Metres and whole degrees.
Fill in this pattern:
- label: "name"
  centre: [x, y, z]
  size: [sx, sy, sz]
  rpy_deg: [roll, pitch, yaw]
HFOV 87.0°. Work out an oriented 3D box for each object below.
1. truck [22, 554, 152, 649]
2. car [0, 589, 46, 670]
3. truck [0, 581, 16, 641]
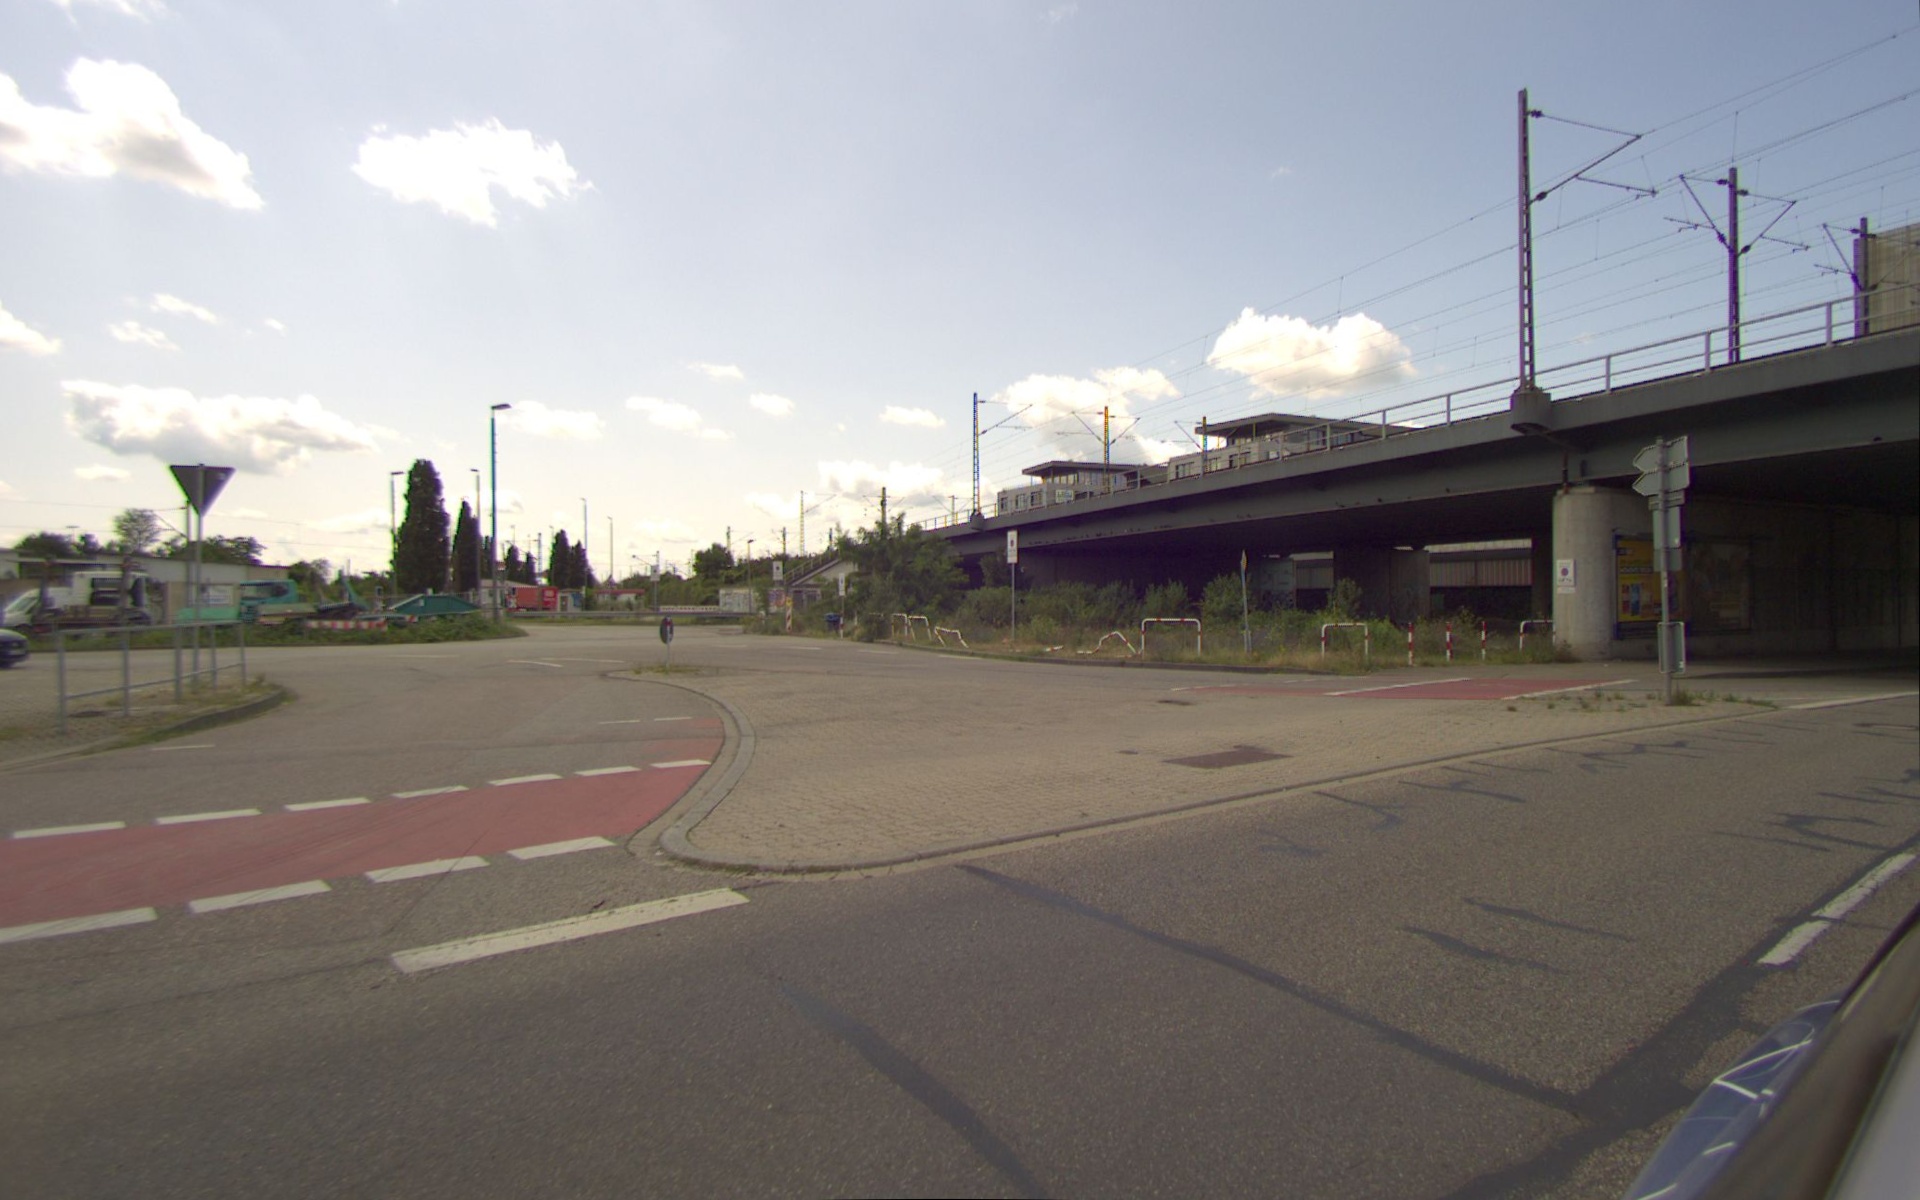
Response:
- label: "truck"
  centre: [-32.719, 0.127, 38.176]
  size: [2.657, 3.298, 5.936]
  rpy_deg: [-1, -1, -31]
- label: "car"
  centre: [-25.885, 0.735, 25.543]
  size: [3.799, 2.039, 1.758]
  rpy_deg: [0, 0, -17]
- label: "truck"
  centre: [-34.498, 0.418, 35.039]
  size: [1.941, 2.110, 4.338]
  rpy_deg: [-1, -1, -34]
